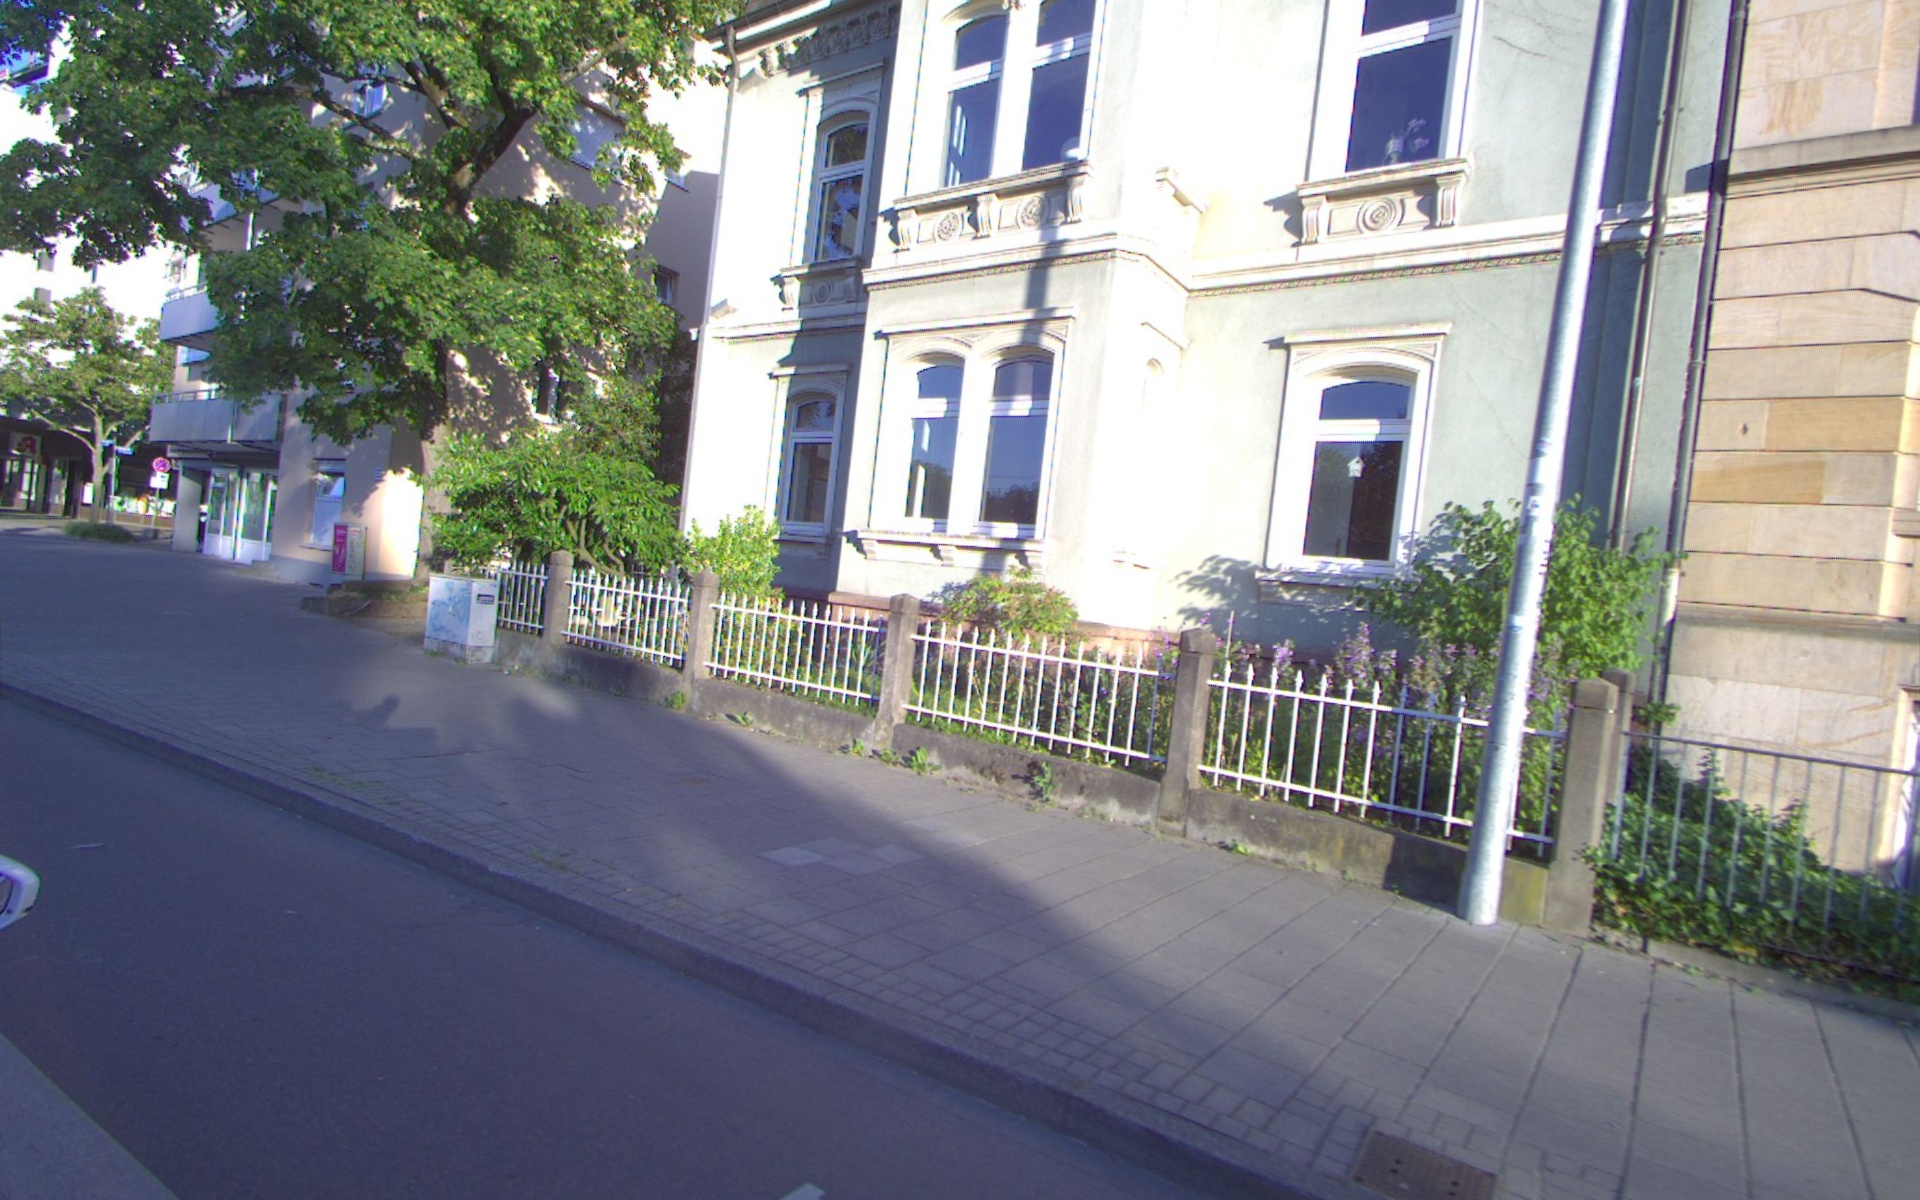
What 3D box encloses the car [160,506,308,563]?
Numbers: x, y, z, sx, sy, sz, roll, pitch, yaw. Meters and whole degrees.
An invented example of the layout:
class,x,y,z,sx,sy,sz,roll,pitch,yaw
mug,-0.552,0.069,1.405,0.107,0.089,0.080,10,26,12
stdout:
class,x,y,z,sx,sy,sz,roll,pitch,yaw
car,-26.301,-2.325,36.531,1.682,1.605,4.034,3,-1,39
